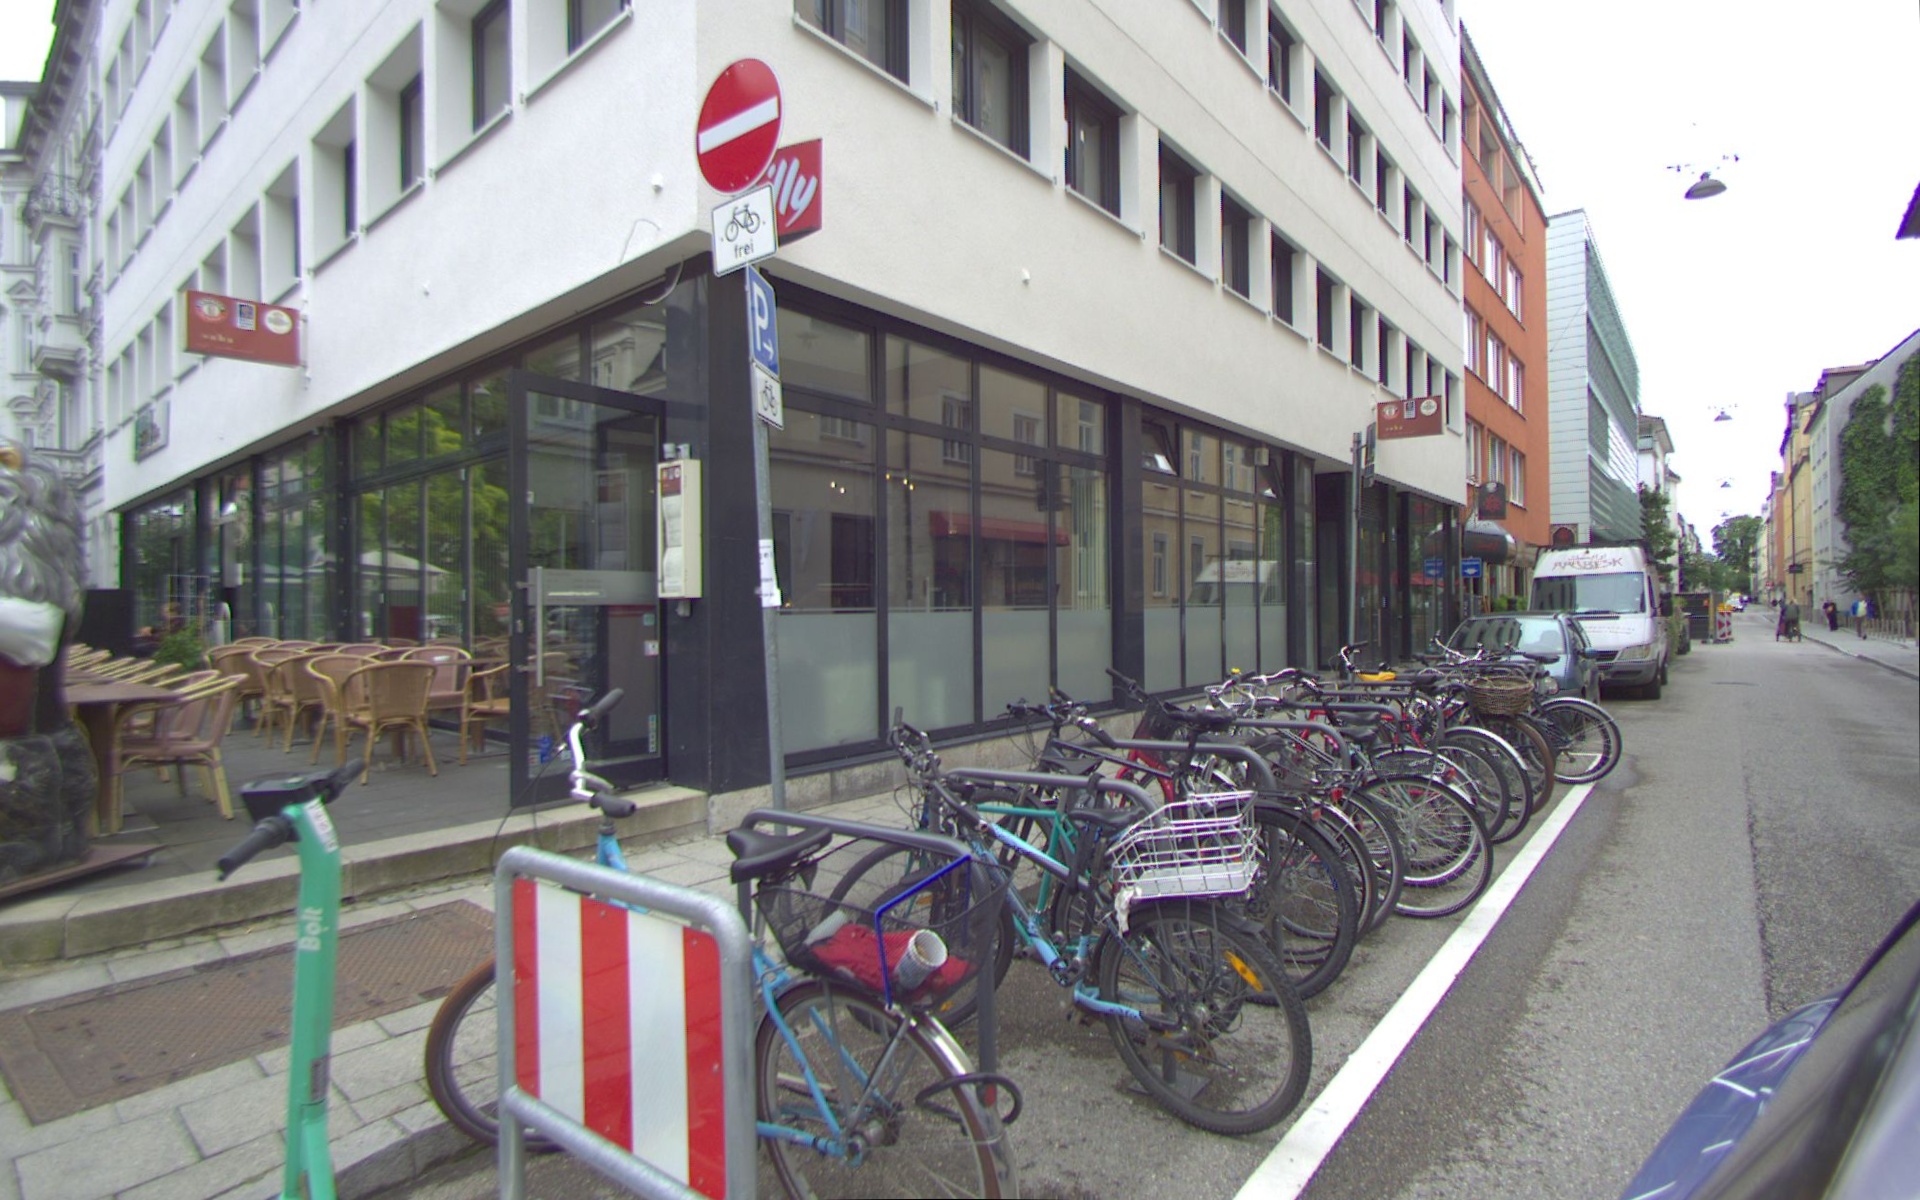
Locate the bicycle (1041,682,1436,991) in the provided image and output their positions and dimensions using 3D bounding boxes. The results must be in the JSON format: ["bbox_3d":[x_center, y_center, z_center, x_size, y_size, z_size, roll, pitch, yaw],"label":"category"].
[{"bbox_3d":[1.158,0.945,4.468,1.669,1.094,0.332,-1,-2,36],"label":"bicycle"}]

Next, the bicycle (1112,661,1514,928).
[{"bbox_3d":[1.693,0.881,5.082,1.868,1.094,0.403,-1,-2,36],"label":"bicycle"}]

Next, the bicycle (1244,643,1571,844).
[{"bbox_3d":[2.816,0.850,6.507,1.868,1.109,0.434,-1,-2,36],"label":"bicycle"}]

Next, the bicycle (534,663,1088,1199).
[{"bbox_3d":[-0.436,0.826,2.388,1.454,1.302,0.439,-2,-2,40],"label":"bicycle"}]

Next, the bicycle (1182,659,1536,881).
[{"bbox_3d":[2.319,0.924,6.018,1.867,1.065,0.557,-1,1,36],"label":"bicycle"}]

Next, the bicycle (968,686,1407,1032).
[{"bbox_3d":[0.866,0.949,4.180,1.734,1.094,0.446,-1,-2,36],"label":"bicycle"}]

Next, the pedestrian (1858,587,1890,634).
[{"bbox_3d":[37.000,0.407,40.973,0.857,1.868,0.960,-2,-2,40],"label":"pedestrian"}]

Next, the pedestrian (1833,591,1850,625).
[{"bbox_3d":[44.504,0.394,51.077,0.551,1.681,0.984,-1,-1,37],"label":"pedestrian"}]

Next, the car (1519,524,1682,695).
[{"bbox_3d":[11.508,0.174,17.958,1.915,2.538,5.916,-3,-2,37],"label":"car"}]

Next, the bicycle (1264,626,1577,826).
[{"bbox_3d":[3.114,0.787,6.956,1.888,1.185,0.558,0,-1,36],"label":"bicycle"}]

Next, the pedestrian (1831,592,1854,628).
[{"bbox_3d":[46.130,0.538,52.905,0.774,1.860,0.978,-1,-1,38],"label":"pedestrian"}]

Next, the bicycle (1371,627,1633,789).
[{"bbox_3d":[4.471,0.838,8.446,1.868,1.220,0.482,-1,-2,37],"label":"bicycle"}]

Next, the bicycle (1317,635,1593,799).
[{"bbox_3d":[3.888,0.881,8.054,1.868,1.172,0.557,-3,-3,37],"label":"bicycle"}]

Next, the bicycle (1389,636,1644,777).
[{"bbox_3d":[4.806,0.891,8.835,1.868,1.122,0.482,-3,-3,37],"label":"bicycle"}]

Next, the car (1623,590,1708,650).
[{"bbox_3d":[22.019,0.591,31.523,1.820,1.732,4.327,-2,-1,39],"label":"car"}]

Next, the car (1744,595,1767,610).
[{"bbox_3d":[90.501,0.288,115.134,1.989,1.612,4.316,-1,0,37],"label":"car"}]

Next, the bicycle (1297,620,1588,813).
[{"bbox_3d":[3.499,0.781,7.441,1.869,1.219,0.572,0,0,37],"label":"bicycle"}]

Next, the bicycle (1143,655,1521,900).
[{"bbox_3d":[1.929,0.869,5.449,1.868,1.094,0.397,-1,-2,36],"label":"bicycle"}]

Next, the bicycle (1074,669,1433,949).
[{"bbox_3d":[1.337,0.904,4.813,1.607,1.094,0.373,-1,-2,36],"label":"bicycle"}]

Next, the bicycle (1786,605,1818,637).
[{"bbox_3d":[34.811,0.848,41.854,0.930,1.273,2.381,0,1,38],"label":"bicycle"}]

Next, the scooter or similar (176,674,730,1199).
[{"bbox_3d":[-0.995,0.782,1.830,1.351,1.225,0.411,-1,-1,41],"label":"scooter or similar"}]

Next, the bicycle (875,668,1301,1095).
[{"bbox_3d":[0.403,0.872,3.561,1.444,1.223,0.391,-2,-1,32],"label":"bicycle"}]

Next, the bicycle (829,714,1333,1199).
[{"bbox_3d":[0.317,0.936,3.056,1.444,1.083,0.458,-2,-1,32],"label":"bicycle"}]

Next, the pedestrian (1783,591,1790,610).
[{"bbox_3d":[82.263,0.026,100.675,0.491,1.848,0.545,-1,-1,38],"label":"pedestrian"}]

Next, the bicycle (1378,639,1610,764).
[{"bbox_3d":[5.074,0.947,9.696,1.868,1.094,0.482,-4,-4,37],"label":"bicycle"}]

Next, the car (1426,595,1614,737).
[{"bbox_3d":[6.997,0.701,12.492,1.576,1.483,3.505,-1,-1,36],"label":"car"}]

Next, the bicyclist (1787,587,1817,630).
[{"bbox_3d":[34.643,0.330,41.656,0.924,1.743,1.084,0,0,38],"label":"bicyclist"}]

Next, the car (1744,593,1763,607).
[{"bbox_3d":[118.450,0.070,151.131,1.988,2.039,4.082,-2,-1,36],"label":"car"}]
